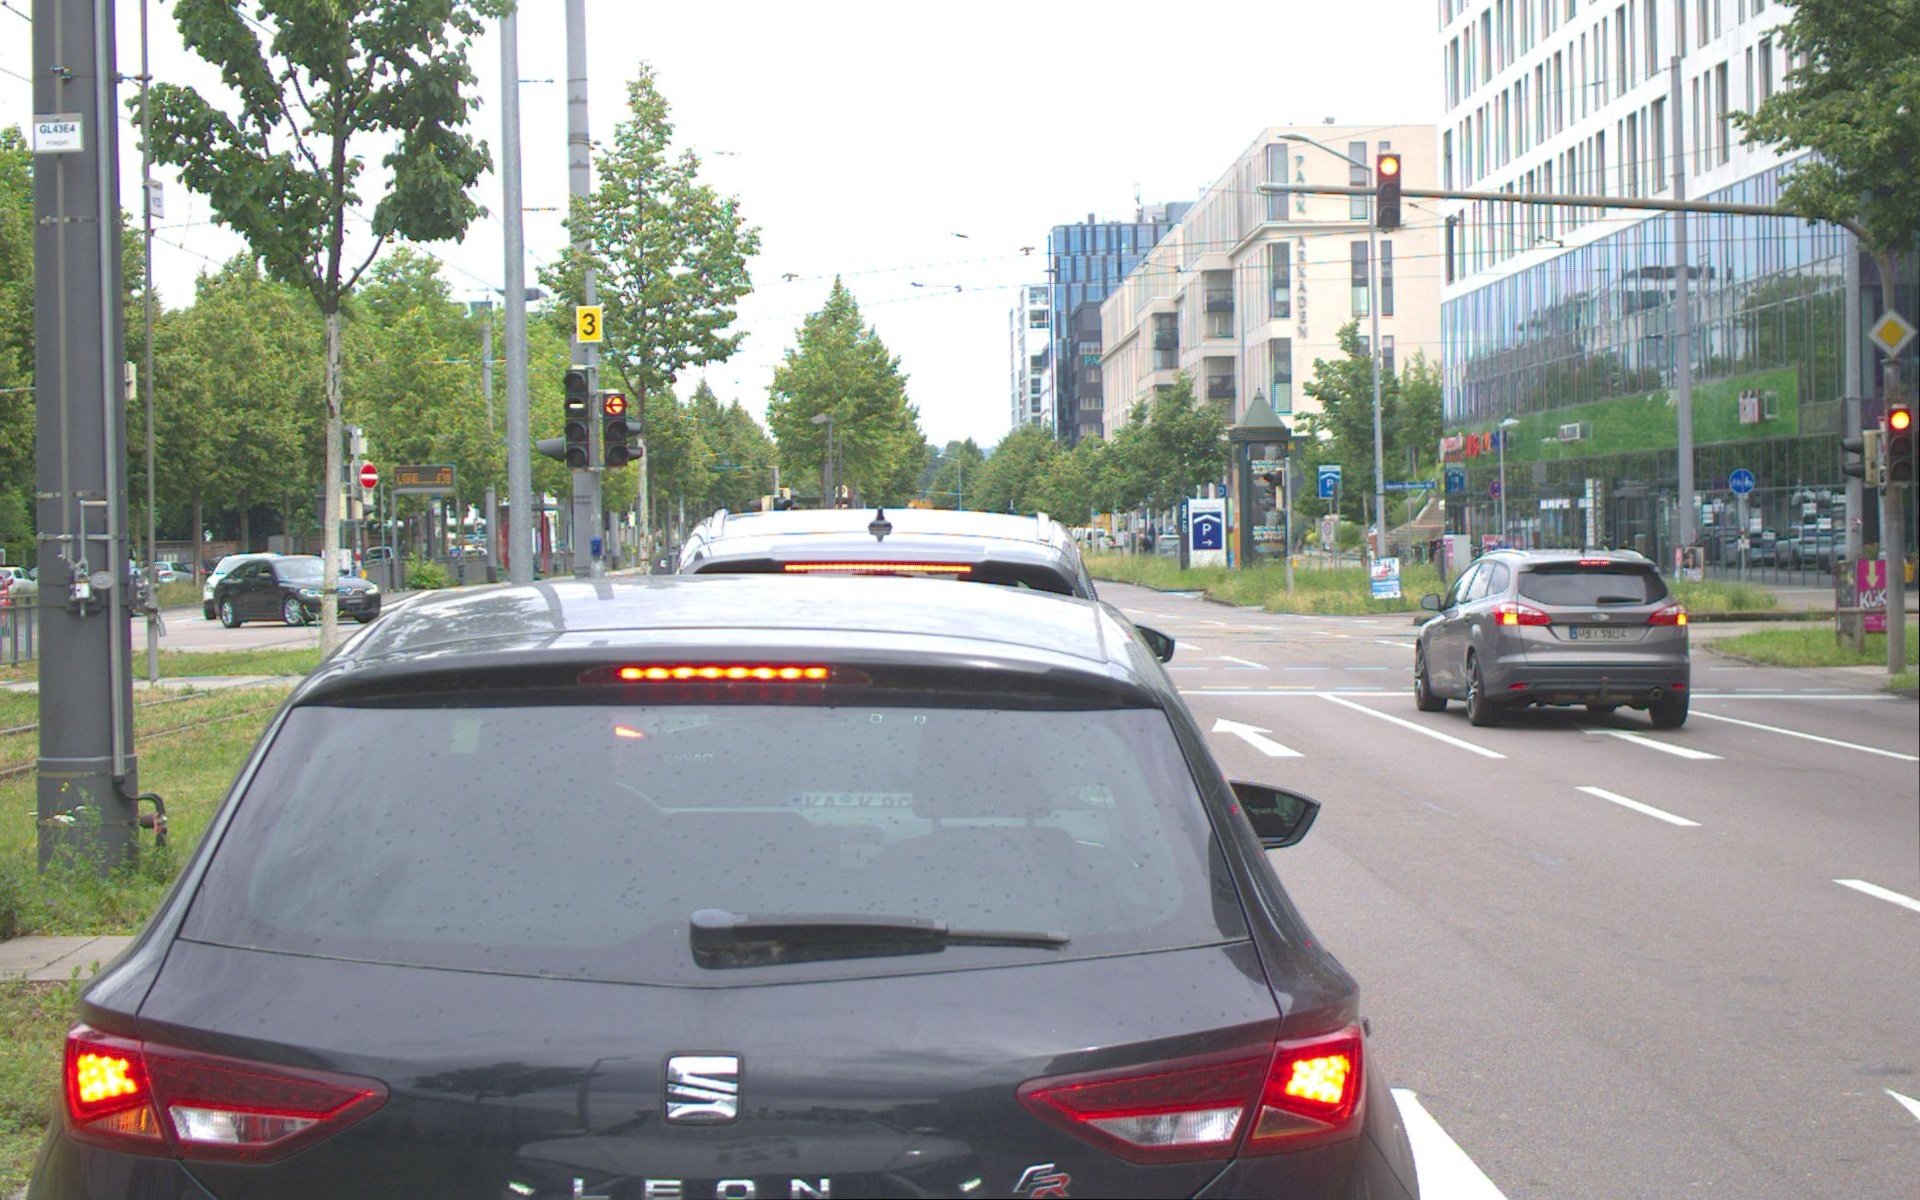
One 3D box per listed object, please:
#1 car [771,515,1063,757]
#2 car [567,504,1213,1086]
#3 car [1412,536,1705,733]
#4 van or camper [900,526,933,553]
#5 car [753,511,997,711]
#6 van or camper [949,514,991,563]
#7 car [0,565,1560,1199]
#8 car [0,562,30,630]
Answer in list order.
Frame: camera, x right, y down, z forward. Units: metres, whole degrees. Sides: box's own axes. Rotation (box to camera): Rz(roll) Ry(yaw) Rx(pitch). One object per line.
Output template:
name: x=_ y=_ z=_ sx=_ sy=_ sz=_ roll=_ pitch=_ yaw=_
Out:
car: x=-0.246 y=0.202 z=26.095 sx=1.994 sy=1.676 sz=4.000 roll=1 pitch=1 yaw=2
car: x=-0.220 y=0.509 z=11.712 sx=1.802 sy=1.619 sz=4.000 roll=-1 pitch=1 yaw=-1
car: x=5.079 y=0.237 z=29.670 sx=1.748 sy=1.494 sz=4.269 roll=0 pitch=2 yaw=0
van or camper: x=-2.743 y=-3.862 z=217.717 sx=1.993 sy=1.609 sz=4.789 roll=0 pitch=2 yaw=0
car: x=-0.698 y=0.044 z=31.154 sx=1.993 sy=1.676 sz=4.000 roll=1 pitch=1 yaw=2
van or camper: x=0.522 y=-3.187 z=176.868 sx=2.109 sy=2.348 sz=4.924 roll=0 pitch=3 yaw=0
car: x=-0.318 y=0.684 z=5.487 sx=1.743 sy=1.412 sz=4.000 roll=1 pitch=1 yaw=-1
car: x=-20.866 y=-0.067 z=71.753 sx=1.811 sy=1.373 sz=4.270 roll=-1 pitch=1 yaw=-1
